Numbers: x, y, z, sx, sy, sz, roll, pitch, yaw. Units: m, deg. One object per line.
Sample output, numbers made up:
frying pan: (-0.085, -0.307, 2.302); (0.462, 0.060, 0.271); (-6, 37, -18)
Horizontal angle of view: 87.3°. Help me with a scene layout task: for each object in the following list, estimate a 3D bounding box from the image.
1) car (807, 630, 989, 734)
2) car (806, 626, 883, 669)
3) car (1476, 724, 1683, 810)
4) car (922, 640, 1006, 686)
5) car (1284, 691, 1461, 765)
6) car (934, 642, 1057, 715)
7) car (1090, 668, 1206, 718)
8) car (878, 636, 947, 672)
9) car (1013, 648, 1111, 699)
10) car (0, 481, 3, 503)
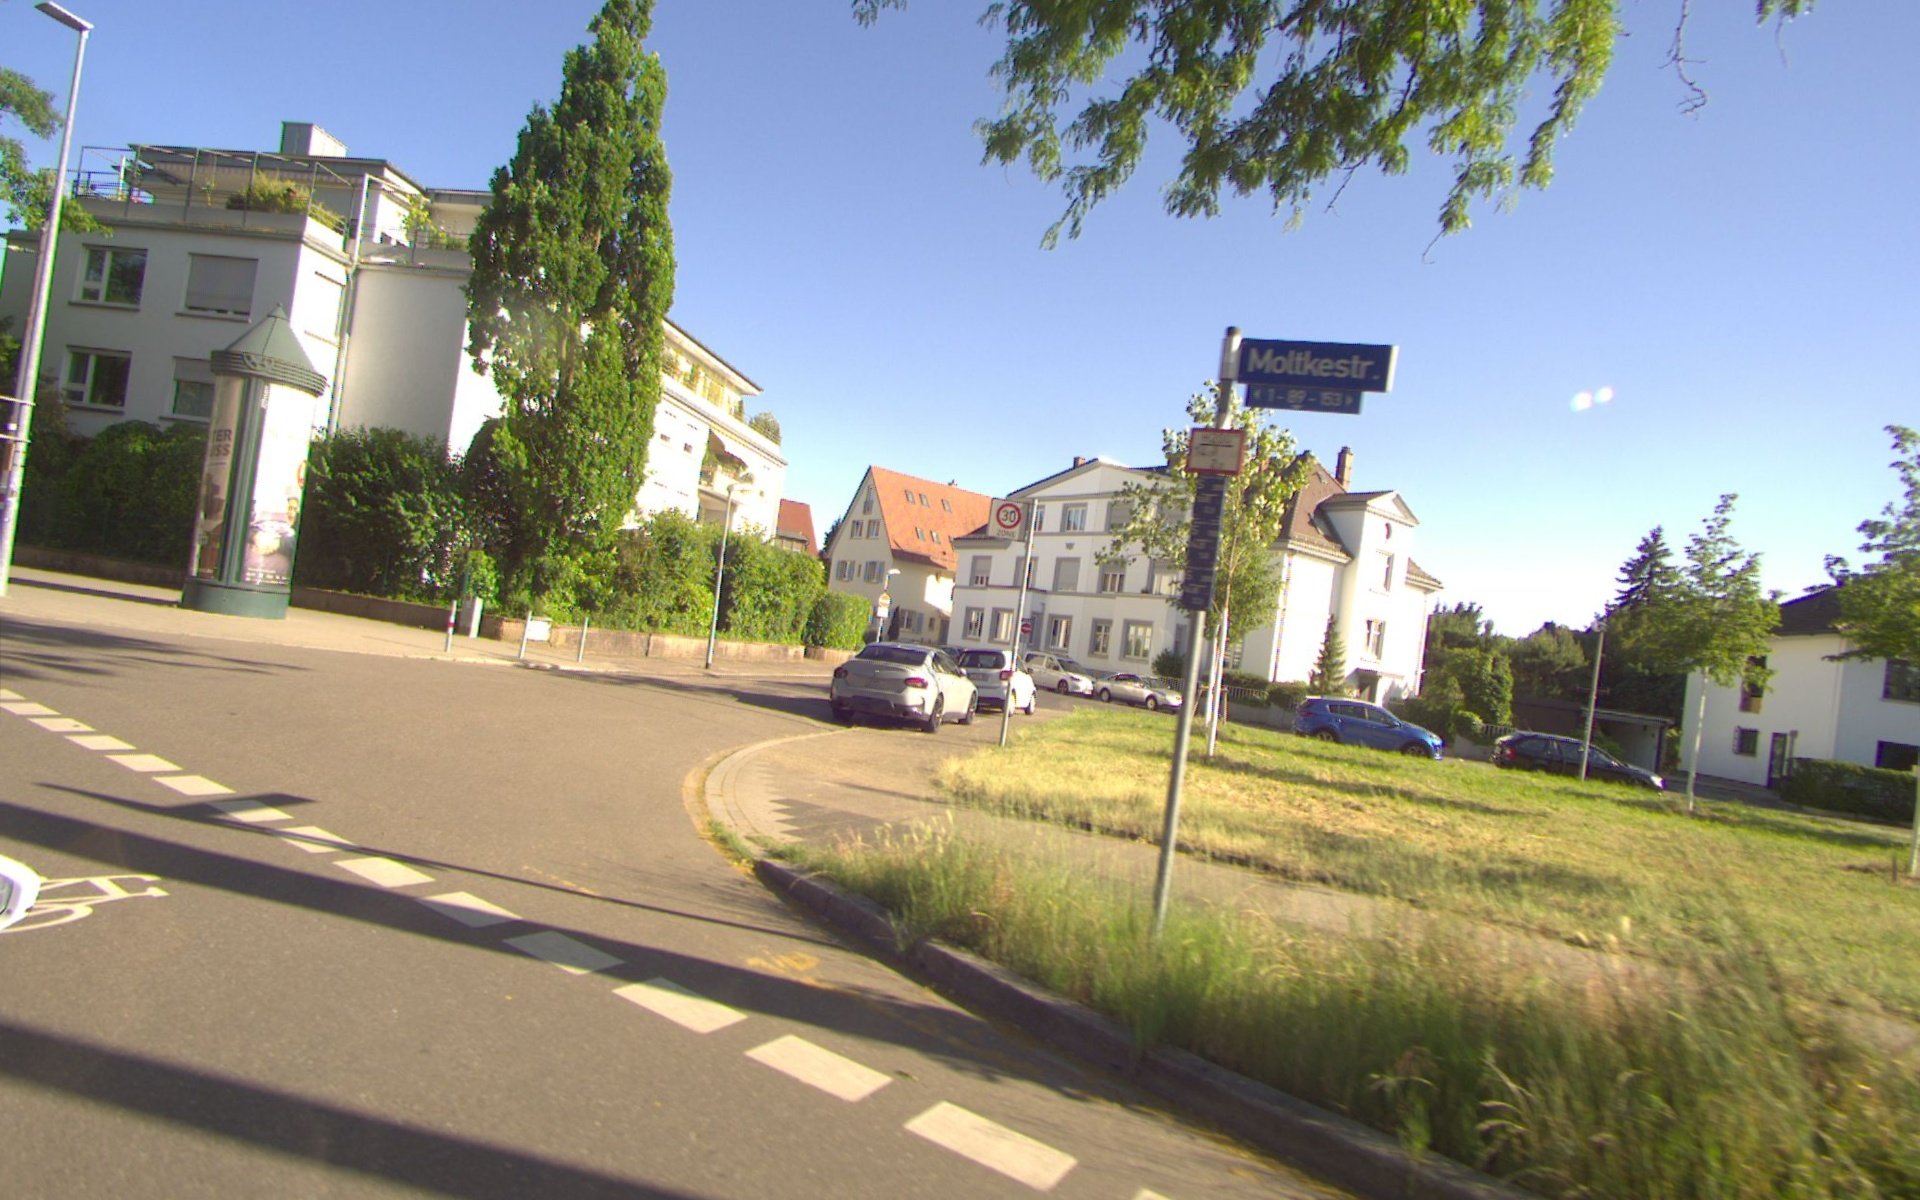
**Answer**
car: (-0.938, 1.466, 18.167); (1.931, 1.384, 4.532); (7, -3, 13)
car: (-6.117, 2.495, 53.038); (2.035, 1.727, 4.248); (9, -3, -36)
car: (18.212, 4.892, 29.803); (4.676, 1.667, 2.004); (8, -3, 11)
car: (0.174, 3.331, 53.796); (1.985, 1.804, 4.557); (9, -3, -37)
car: (12.666, 3.903, 31.209); (4.665, 1.487, 2.068); (7, -2, 12)
car: (1.012, 2.003, 25.352); (1.806, 1.527, 4.299); (5, -3, 19)
car: (7.883, 3.908, 42.677); (1.983, 1.444, 4.722); (9, -4, -34)
car: (-2.773, 3.124, 58.314); (1.984, 1.537, 3.961); (9, -2, -36)
car: (4.734, 3.409, 47.176); (1.982, 1.862, 4.517); (9, -3, -34)
car: (-19.121, -1.535, 17.014); (4.662, 1.767, 2.031); (8, -1, 16)
